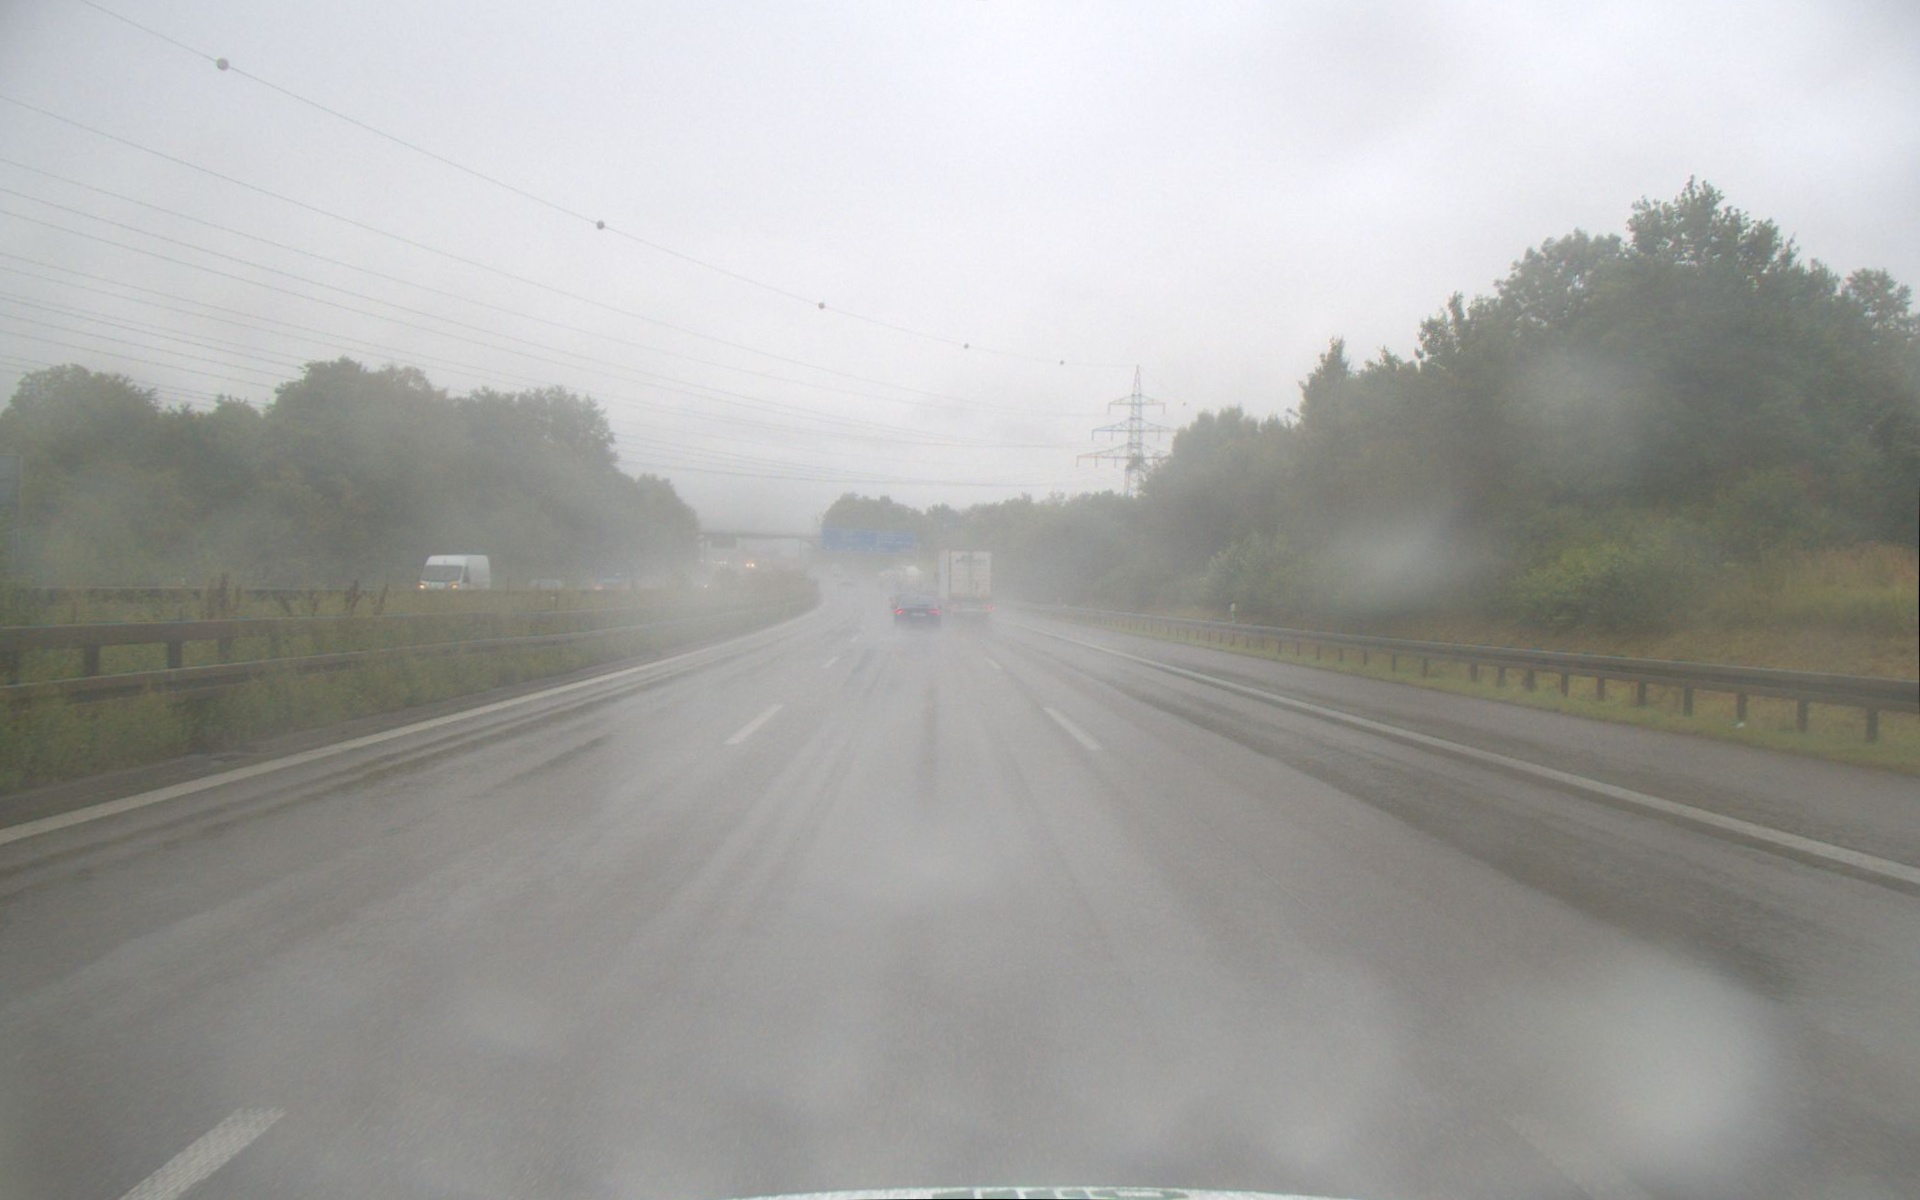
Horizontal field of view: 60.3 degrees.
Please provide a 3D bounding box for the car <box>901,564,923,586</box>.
[{"bbox_3d":[-5.493,-2.831,187.968,2.345,2.312,5.000,3,1,-2],"label":"car"}]

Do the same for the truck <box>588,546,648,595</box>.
[{"bbox_3d":[-25.756,-2.179,124.838,3.008,3.333,7.388,4,0,-2],"label":"truck"}]

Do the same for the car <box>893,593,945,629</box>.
[{"bbox_3d":[-1.510,0.390,62.475,1.713,1.233,4.001,3,0,1],"label":"car"}]

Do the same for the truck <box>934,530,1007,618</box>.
[{"bbox_3d":[0.551,-1.564,103.367,4.169,5.059,17.339,0,1,0],"label":"truck"}]
